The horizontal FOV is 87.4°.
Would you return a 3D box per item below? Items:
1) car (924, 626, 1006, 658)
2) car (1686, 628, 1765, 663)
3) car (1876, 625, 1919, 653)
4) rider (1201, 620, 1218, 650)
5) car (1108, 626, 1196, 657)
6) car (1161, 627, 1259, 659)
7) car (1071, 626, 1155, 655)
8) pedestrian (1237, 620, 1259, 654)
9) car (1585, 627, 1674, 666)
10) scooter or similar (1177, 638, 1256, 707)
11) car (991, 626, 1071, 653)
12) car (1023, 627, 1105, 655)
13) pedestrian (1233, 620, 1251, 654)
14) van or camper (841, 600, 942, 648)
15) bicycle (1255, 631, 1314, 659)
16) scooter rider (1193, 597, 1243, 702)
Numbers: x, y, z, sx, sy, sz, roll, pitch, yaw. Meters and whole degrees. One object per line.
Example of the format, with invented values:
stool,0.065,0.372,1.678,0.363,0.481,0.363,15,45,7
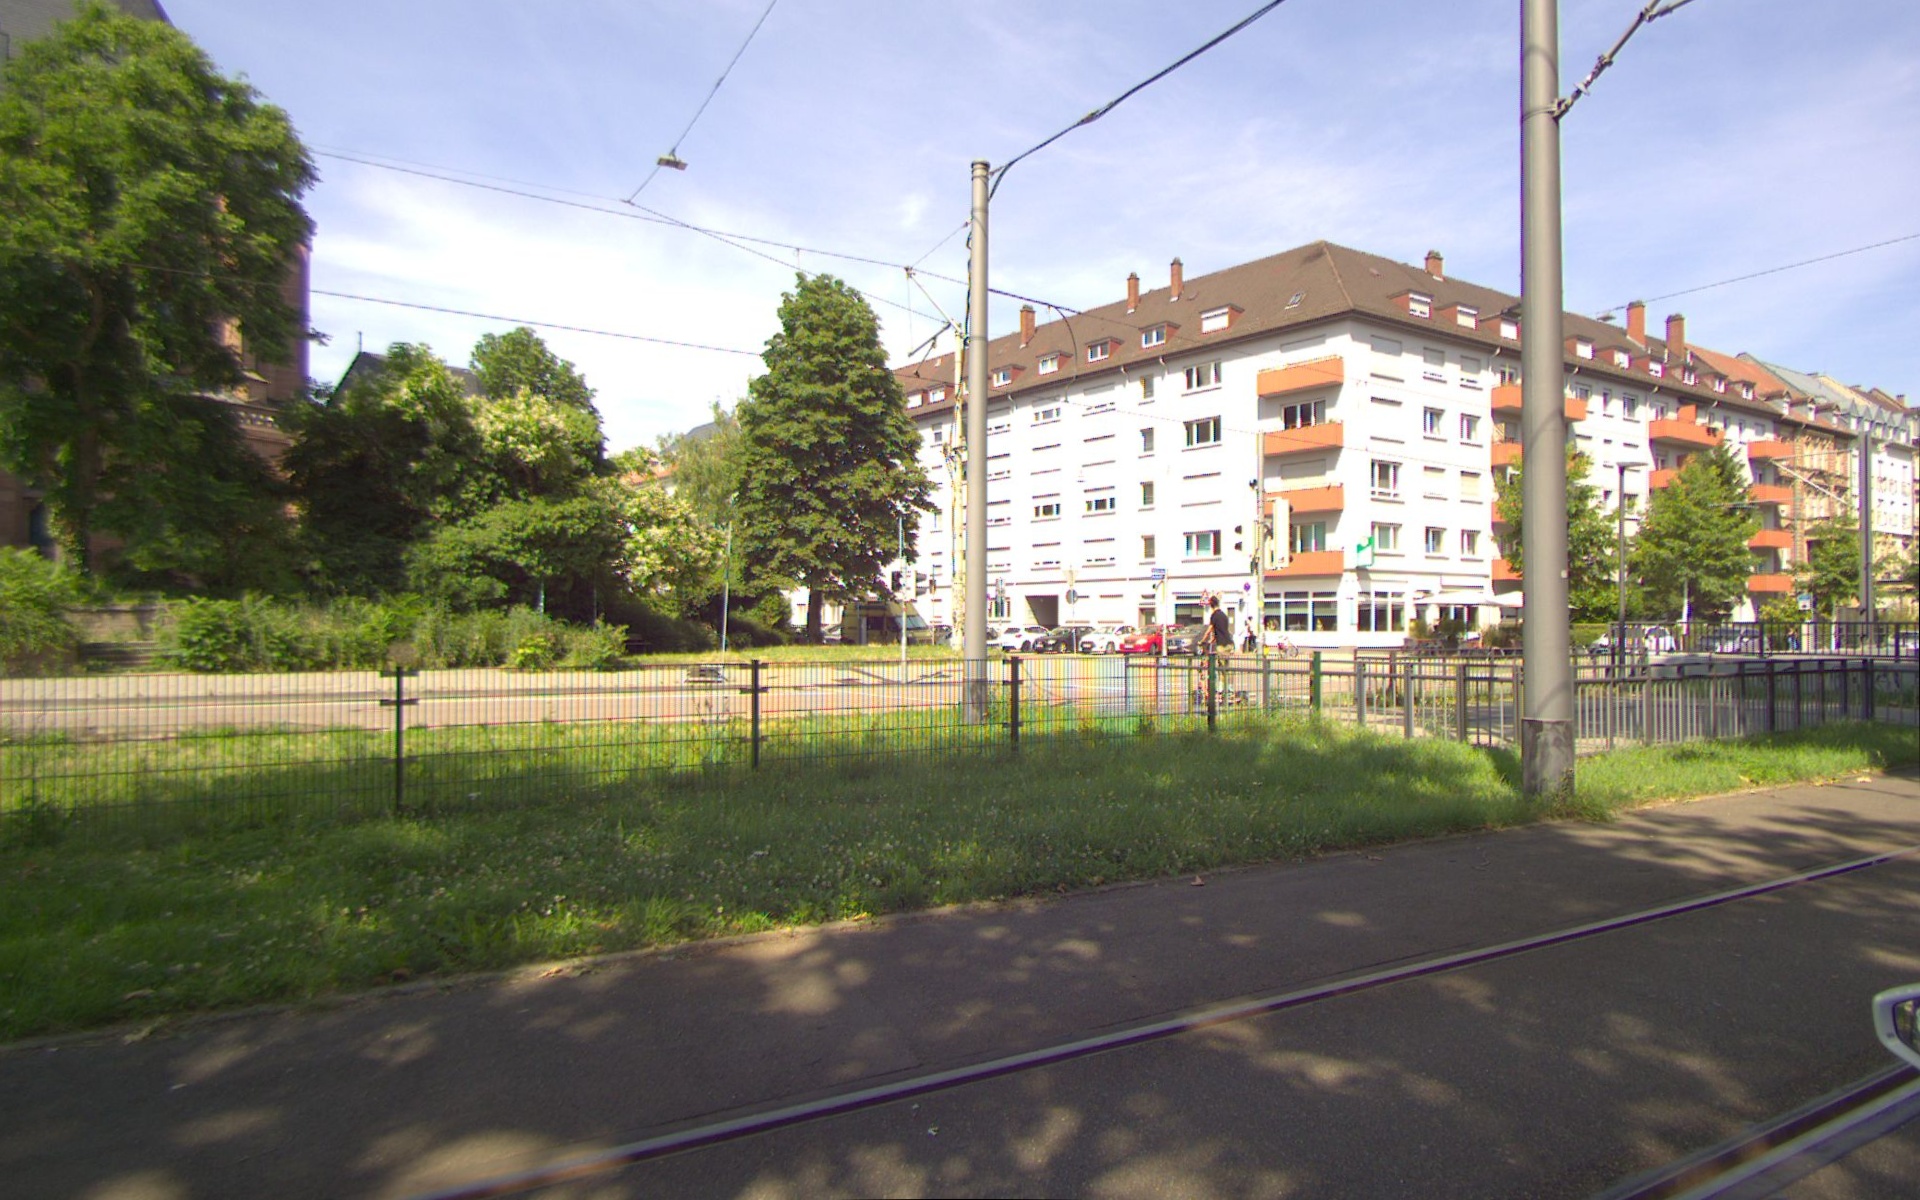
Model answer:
car,0.211,1.960,47.634,3.702,1.425,1.823,-1,-2,44
car,34.603,2.031,45.358,3.961,1.518,1.759,1,-3,-36
car,53.012,2.173,56.246,3.961,1.518,1.758,1,-2,-36
rider,12.240,1.712,49.347,0.616,1.442,0.587,-1,-1,44
car,9.271,1.967,48.391,4.129,1.425,1.918,1,-2,-38
car,11.440,1.913,45.799,4.598,1.394,1.821,1,-2,-36
car,7.728,2.024,50.707,4.129,1.425,1.918,1,-2,-38
pedestrian,13.900,1.784,48.522,0.846,1.593,0.688,-1,-1,36
car,27.337,1.899,40.983,3.961,1.518,1.759,1,-3,-36
scooter or similar,4.712,1.322,18.462,1.248,1.220,0.656,0,-1,-11
car,3.872,2.128,54.547,4.129,1.425,1.917,1,-1,-38
car,5.438,2.103,52.269,4.129,1.425,1.918,1,-2,-38
pedestrian,13.490,1.764,48.003,0.679,1.593,0.544,-1,-1,36
van or camper,-3.621,1.254,52.024,2.228,2.360,5.704,1,-2,-42
bicycle,14.203,1.953,43.934,2.779,1.152,0.905,1,-1,-34
scooter rider,4.739,0.894,18.463,0.657,1.891,0.663,0,-1,-12
